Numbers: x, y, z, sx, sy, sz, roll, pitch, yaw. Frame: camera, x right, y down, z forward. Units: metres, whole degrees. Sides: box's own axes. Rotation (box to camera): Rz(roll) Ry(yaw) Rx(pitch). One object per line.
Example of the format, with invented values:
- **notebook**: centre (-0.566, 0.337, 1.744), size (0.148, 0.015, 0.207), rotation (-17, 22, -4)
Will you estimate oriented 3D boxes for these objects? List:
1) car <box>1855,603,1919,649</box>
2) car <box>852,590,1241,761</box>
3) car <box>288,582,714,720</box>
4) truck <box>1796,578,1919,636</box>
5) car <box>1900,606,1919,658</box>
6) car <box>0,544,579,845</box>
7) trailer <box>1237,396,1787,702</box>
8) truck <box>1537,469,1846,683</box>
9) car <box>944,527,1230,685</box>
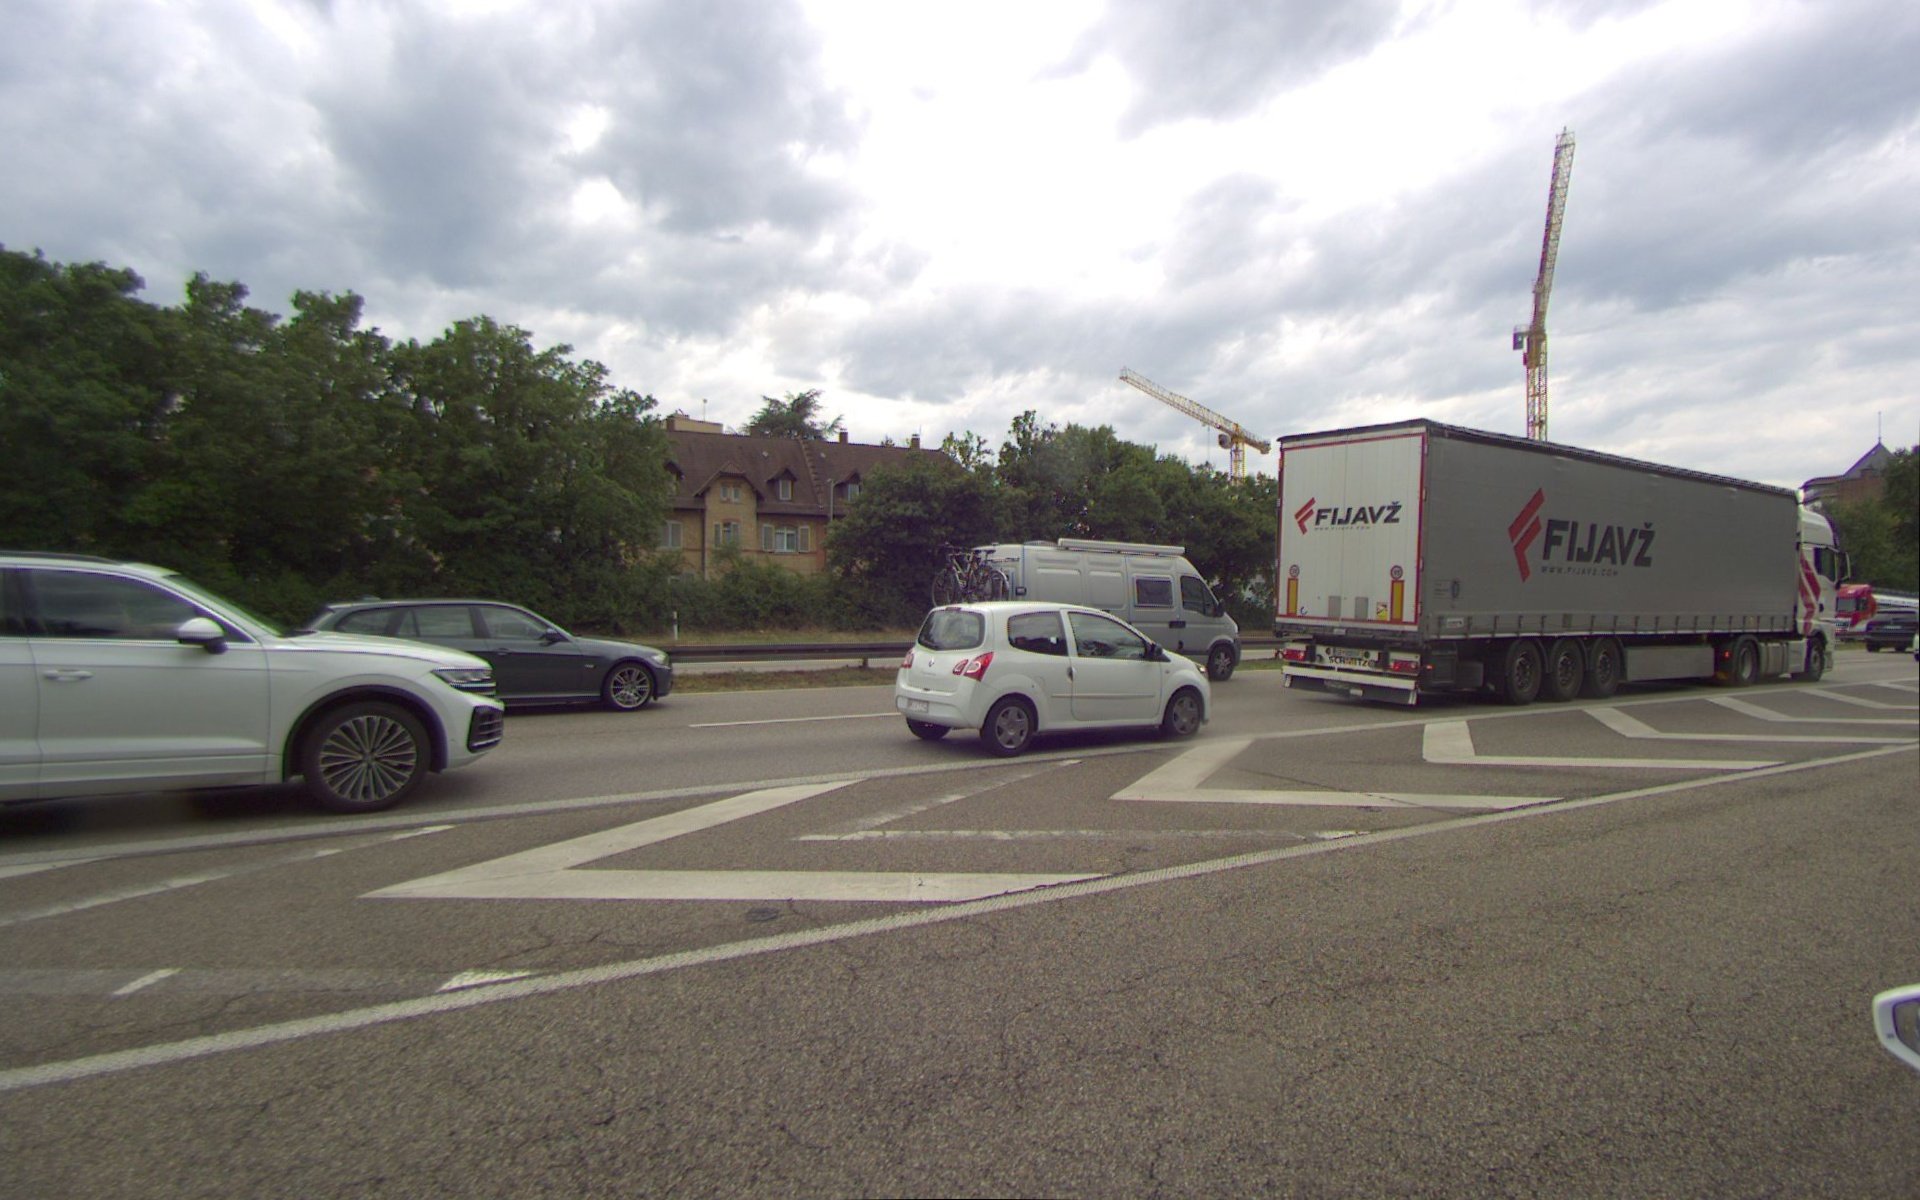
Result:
- **car**: centre (37.699, 1.042, 40.047), size (3.954, 1.739, 1.865), rotation (2, 0, -31)
- **car**: centre (0.996, 0.697, 10.639), size (3.992, 1.510, 1.569), rotation (1, 0, -33)
- **car**: centre (-5.668, 0.593, 12.733), size (4.651, 1.467, 1.703), rotation (2, 0, -33)
- **truck**: centre (60.647, 0.494, 67.467), size (10.438, 3.555, 3.578), rotation (2, 0, -31)
- **car**: centre (32.094, 1.059, 32.258), size (4.211, 1.625, 1.790), rotation (2, 0, -32)
- **car**: centre (-5.529, 0.534, 6.661), size (5.325, 1.682, 1.898), rotation (1, 0, -35)
- **trailer**: centre (10.755, -0.545, 18.435), size (12.963, 4.090, 3.278), rotation (2, 0, -34)
- **truck**: centre (16.148, -0.390, 22.047), size (6.999, 4.000, 3.179), rotation (2, 0, -34)
- **car**: centre (2.458, 0.139, 18.690), size (5.305, 2.587, 1.981), rotation (1, 0, -34)
